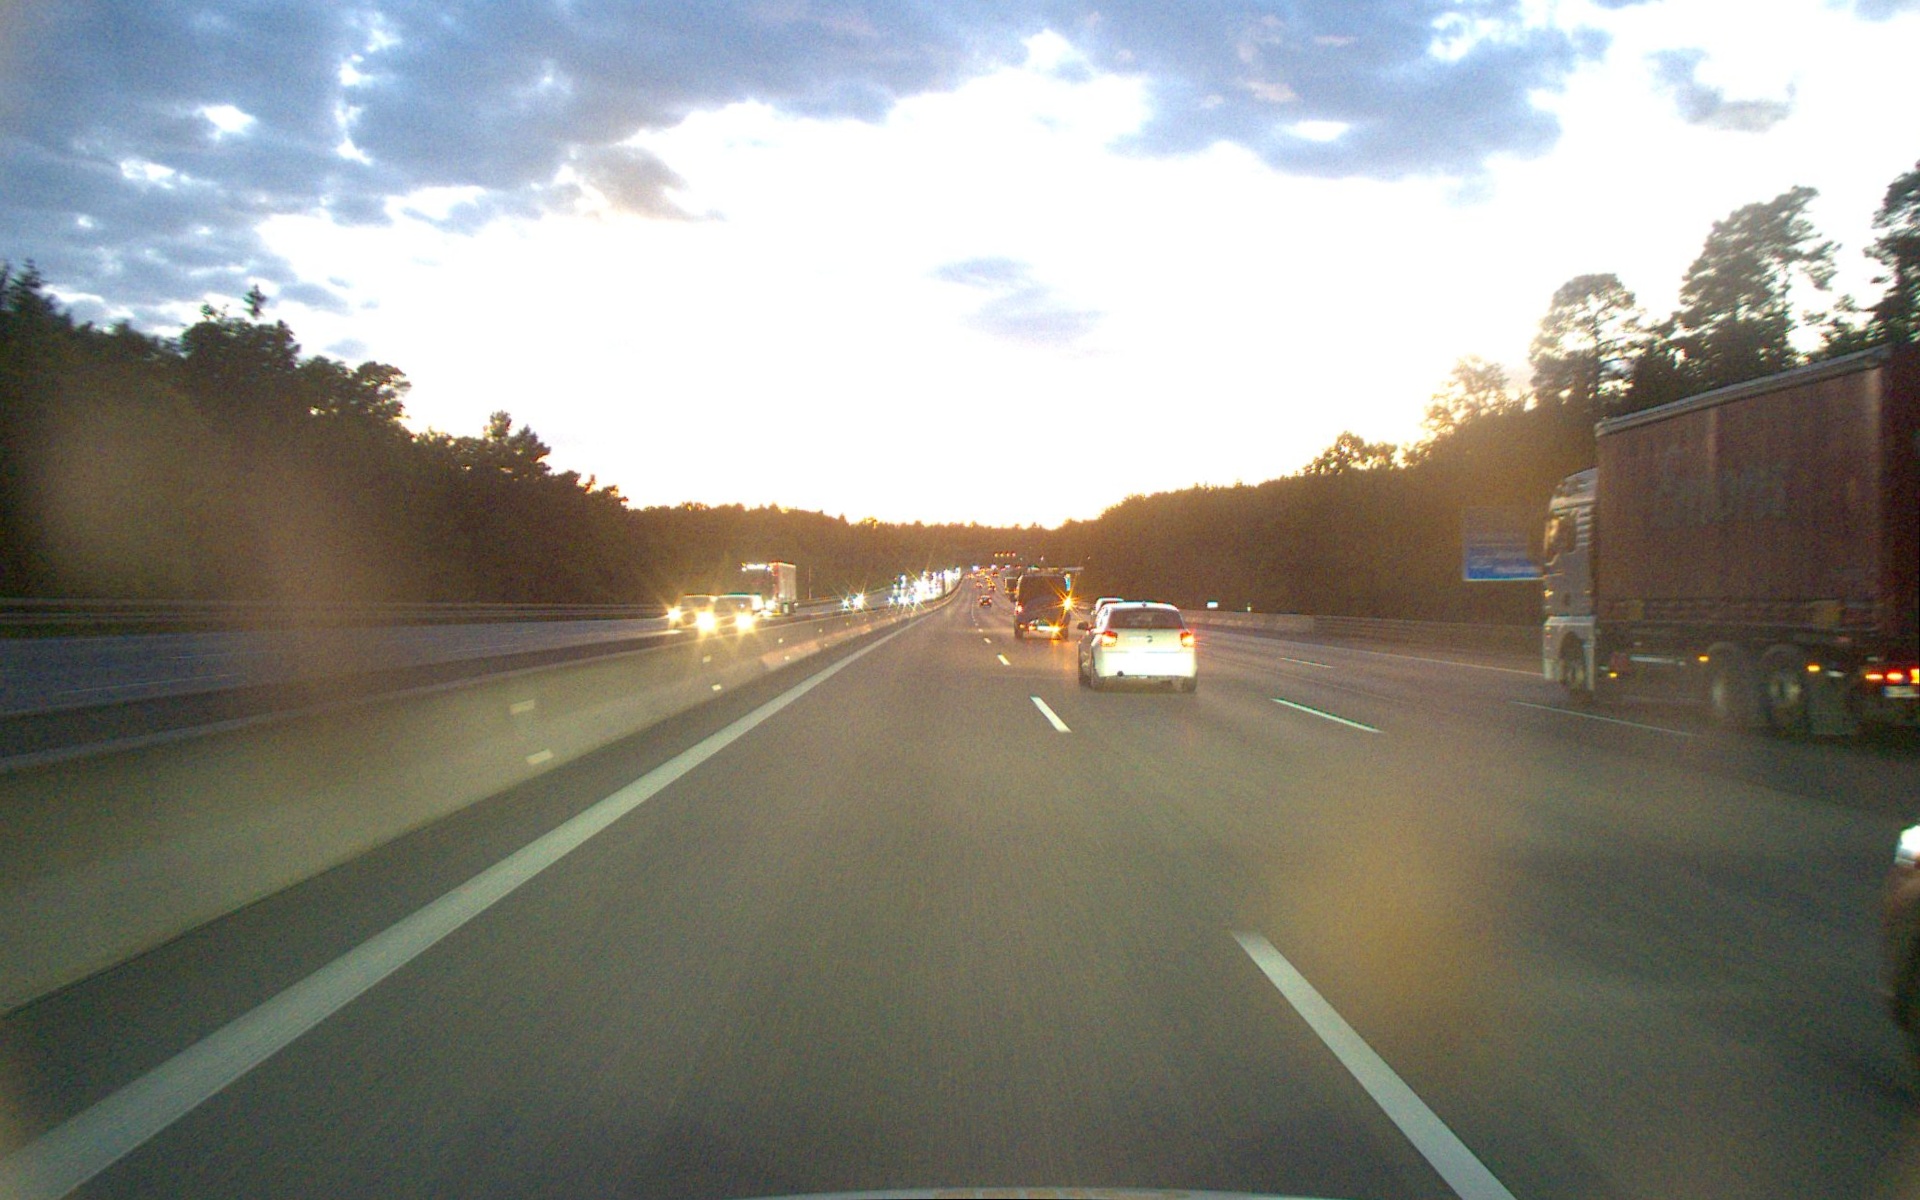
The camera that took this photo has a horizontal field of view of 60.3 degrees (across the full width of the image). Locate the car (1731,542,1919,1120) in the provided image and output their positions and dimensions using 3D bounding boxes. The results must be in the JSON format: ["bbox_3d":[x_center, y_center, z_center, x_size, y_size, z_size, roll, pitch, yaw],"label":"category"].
[{"bbox_3d":[3.760,0.680,3.409,1.864,1.672,5.050,2,-1,-1],"label":"car"}]

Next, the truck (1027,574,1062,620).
[{"bbox_3d":[11.293,-0.342,222.442,4.064,5.959,14.297,0,0,1],"label":"truck"}]

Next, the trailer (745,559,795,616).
[{"bbox_3d":[-14.915,-0.955,130.841,2.596,4.204,14.323,0,0,-1],"label":"trailer"}]

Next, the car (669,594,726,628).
[{"bbox_3d":[-11.491,0.470,72.605,1.740,1.426,4.938,1,0,-1],"label":"car"}]

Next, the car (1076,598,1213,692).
[{"bbox_3d":[3.067,0.726,28.172,1.821,1.467,3.719,1,0,-1],"label":"car"}]

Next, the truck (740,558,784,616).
[{"bbox_3d":[-14.782,-0.945,123.956,2.596,4.204,6.523,0,0,-1],"label":"truck"}]

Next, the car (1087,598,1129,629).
[{"bbox_3d":[7.514,0.667,84.449,1.966,1.565,4.001,0,0,2],"label":"car"}]

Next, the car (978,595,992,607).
[{"bbox_3d":[3.454,0.132,228.835,1.798,1.598,4.001,0,0,2],"label":"car"}]

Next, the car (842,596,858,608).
[{"bbox_3d":[-14.015,0.233,211.131,1.874,1.449,4.745,0,0,-2],"label":"car"}]

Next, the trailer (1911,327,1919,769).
[{"bbox_3d":[10.496,-0.476,10.579,2.848,4.172,10.357,0,0,0],"label":"trailer"}]

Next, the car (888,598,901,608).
[{"bbox_3d":[-10.022,0.431,253.634,1.811,1.438,4.790,0,0,0],"label":"car"}]

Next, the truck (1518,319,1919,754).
[{"bbox_3d":[10.452,-0.602,21.306,2.826,4.172,10.831,0,0,0],"label":"truck"}]

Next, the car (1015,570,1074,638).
[{"bbox_3d":[3.180,0.160,62.694,2.120,2.461,5.566,0,0,2],"label":"car"}]

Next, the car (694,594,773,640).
[{"bbox_3d":[-7.320,0.524,53.828,1.953,1.426,4.687,1,0,-1],"label":"car"}]
